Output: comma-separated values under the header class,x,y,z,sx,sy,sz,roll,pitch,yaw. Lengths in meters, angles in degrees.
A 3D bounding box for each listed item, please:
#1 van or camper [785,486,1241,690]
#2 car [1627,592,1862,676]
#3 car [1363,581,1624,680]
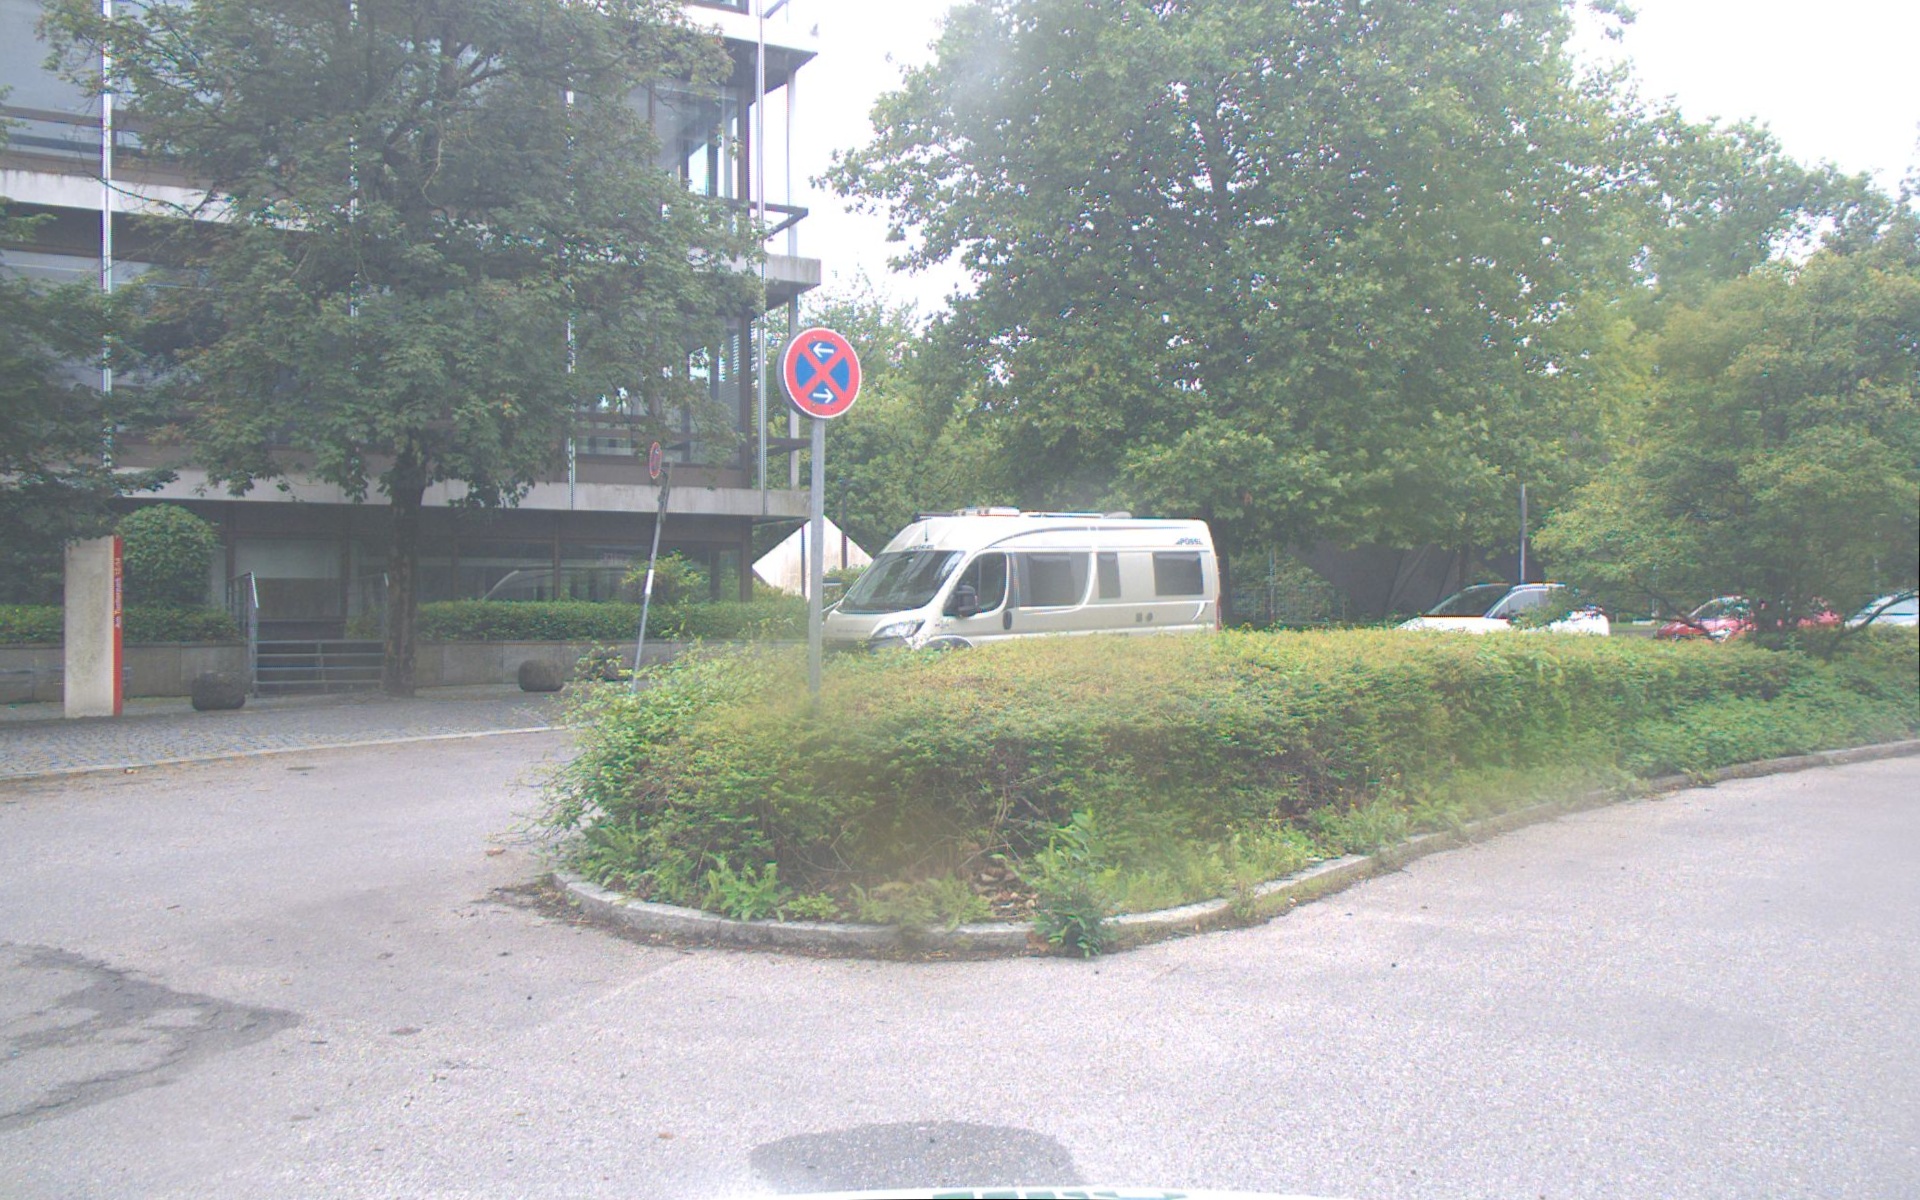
class,x,y,z,sx,sy,sz,roll,pitch,yaw
van or camper,0.883,-0.124,21.840,6.367,2.321,2.219,0,-1,-43
car,14.457,0.586,30.459,3.941,1.434,1.982,0,0,-28
car,8.890,0.474,27.555,3.941,1.534,1.982,0,0,-28
